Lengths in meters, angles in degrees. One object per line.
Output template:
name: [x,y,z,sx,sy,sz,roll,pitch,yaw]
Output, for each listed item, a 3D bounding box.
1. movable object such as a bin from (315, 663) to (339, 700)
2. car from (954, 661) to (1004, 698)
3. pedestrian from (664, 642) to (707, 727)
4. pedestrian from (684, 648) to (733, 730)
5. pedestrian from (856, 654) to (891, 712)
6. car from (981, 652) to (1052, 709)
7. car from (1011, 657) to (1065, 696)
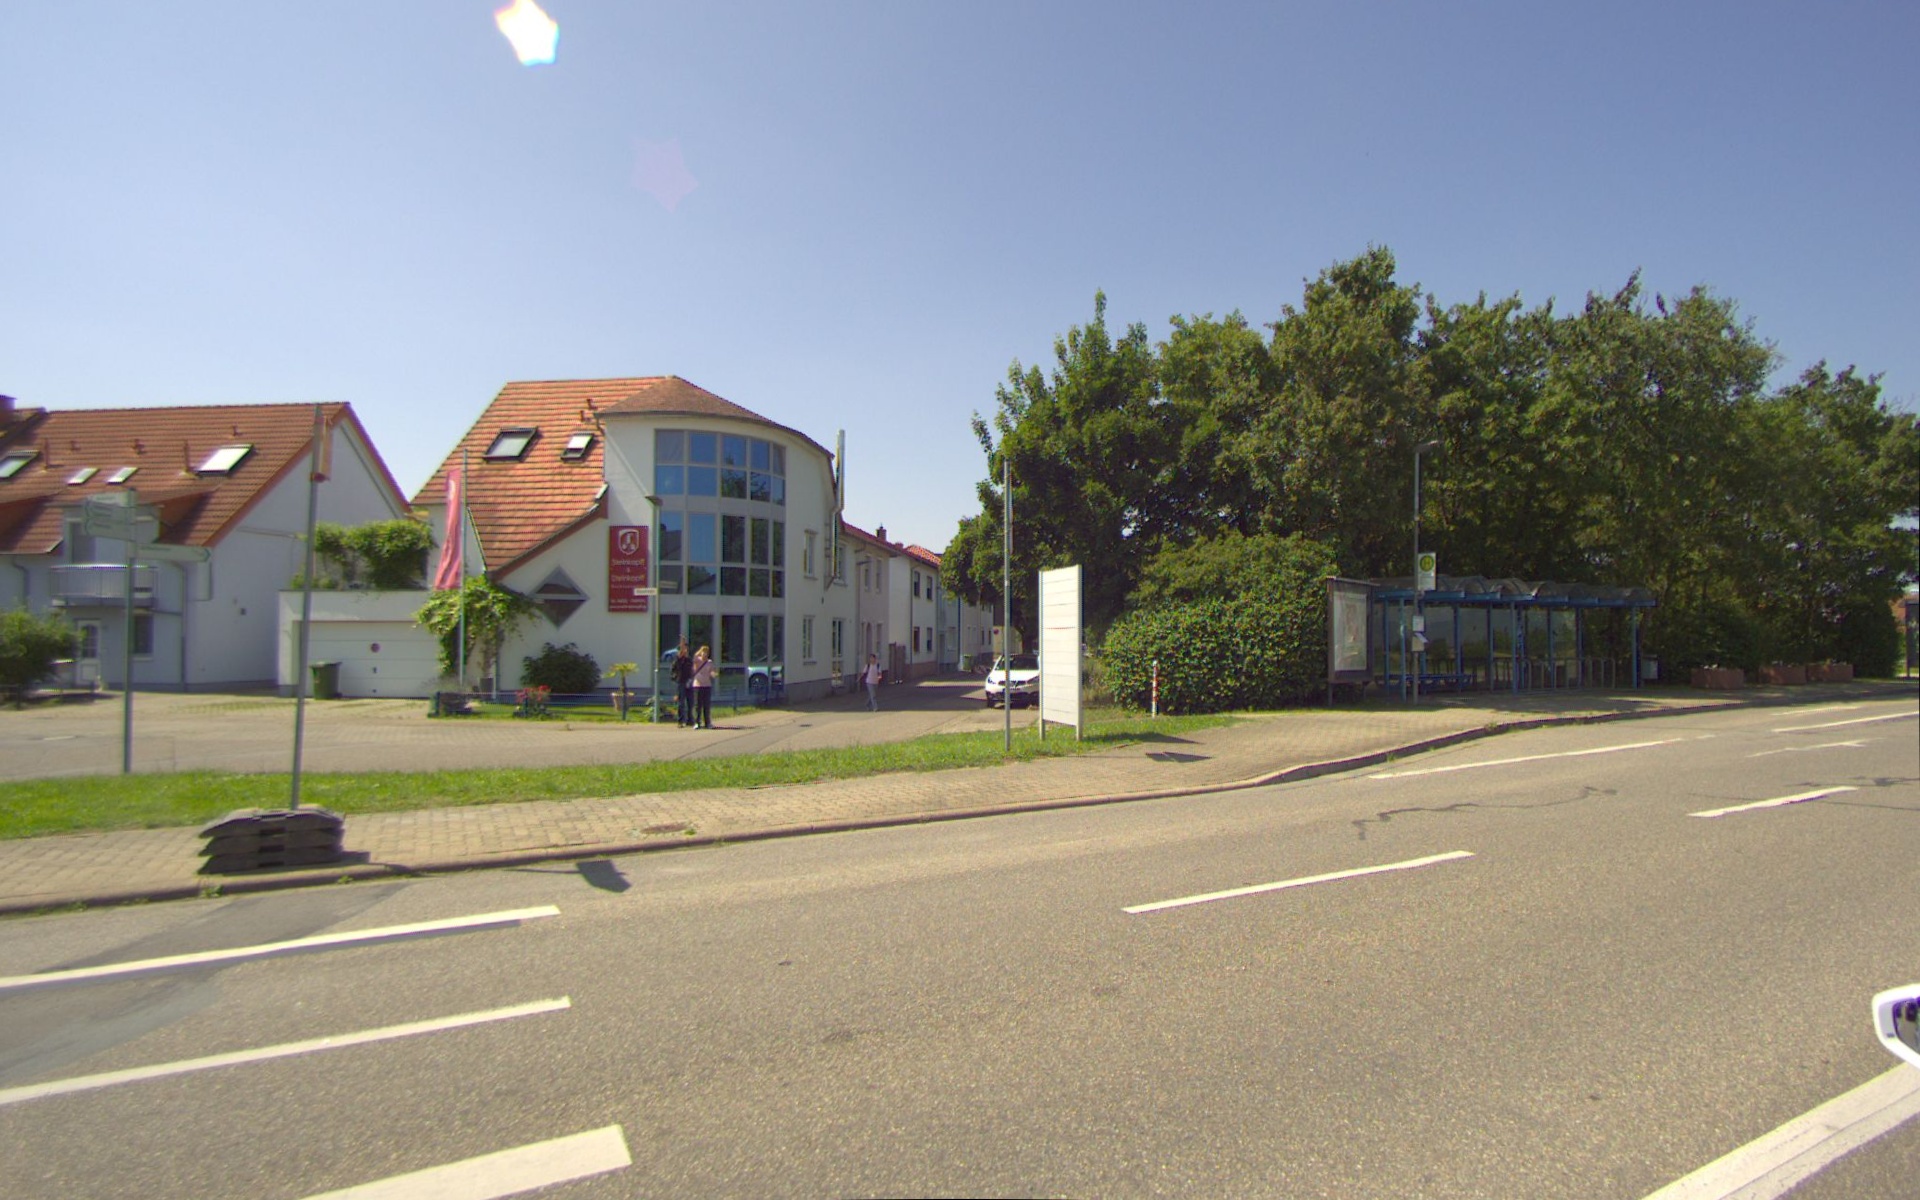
movable object such as a bin: [-18.471,2.372,29.297,0.558,1.076,0.396,1,-3,-36]
car: [0.763,2.999,38.356,1.423,1.220,3.562,0,-2,9]
pedestrian: [-6.149,1.877,22.538,0.695,1.845,0.805,0,-2,2]
pedestrian: [-5.535,1.949,22.159,0.799,1.763,0.960,0,-2,1]
pedestrian: [-2.423,2.324,28.159,0.905,1.587,0.790,0,-2,-1]
car: [1.836,2.466,31.409,1.769,1.588,3.585,0,-2,11]
car: [3.108,2.985,39.637,1.649,1.365,3.383,0,-2,13]
